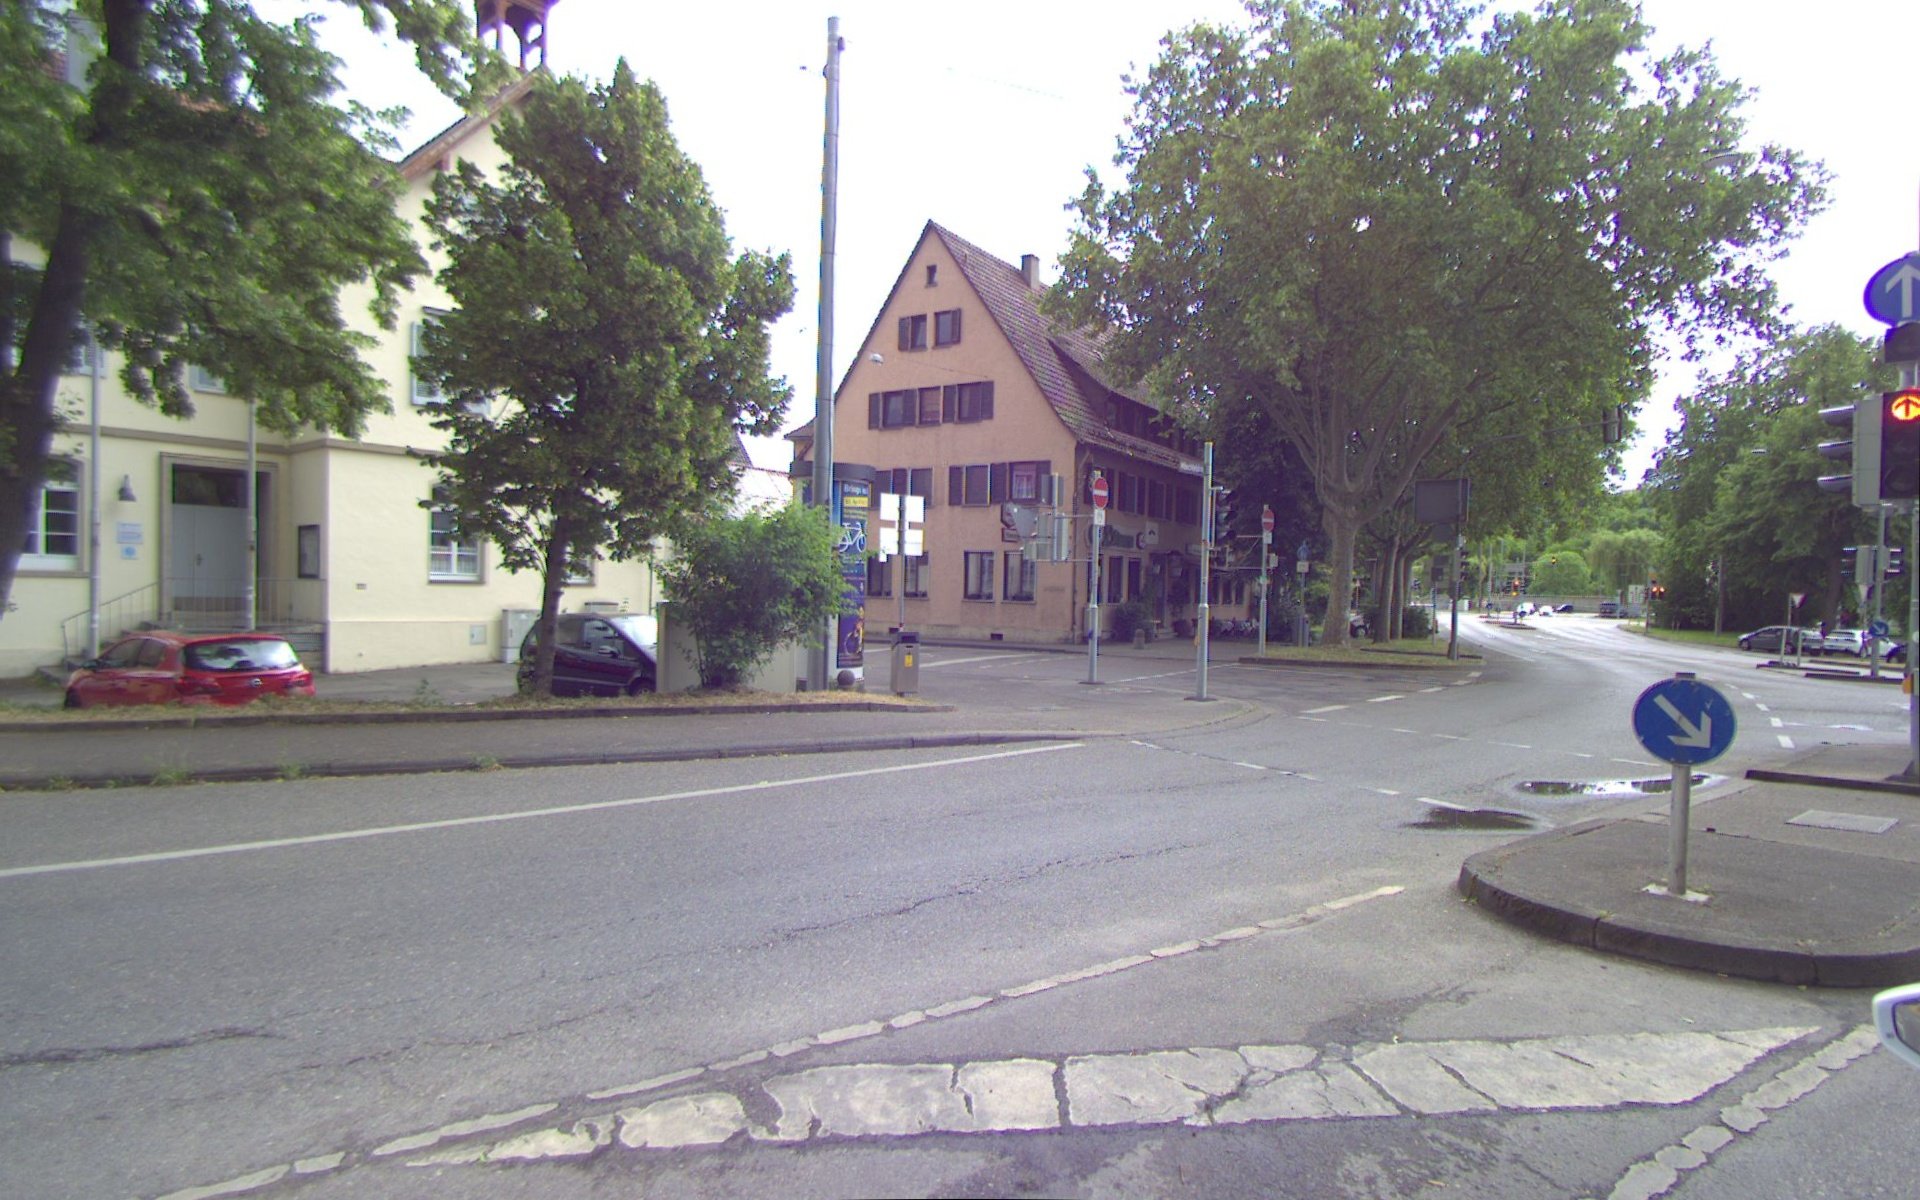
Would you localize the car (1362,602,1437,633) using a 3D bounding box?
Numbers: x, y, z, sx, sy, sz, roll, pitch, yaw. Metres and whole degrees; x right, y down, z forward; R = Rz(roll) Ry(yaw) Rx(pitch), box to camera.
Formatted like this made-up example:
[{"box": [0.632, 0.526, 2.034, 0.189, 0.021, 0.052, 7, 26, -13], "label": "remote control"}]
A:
[{"box": [25.731, 1.011, 58.782, 3.924, 1.706, 1.998, 1, 0, 25], "label": "car"}]

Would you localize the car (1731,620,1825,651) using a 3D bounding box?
[{"box": [43.820, 1.880, 53.904, 1.592, 1.485, 3.778, 2, 0, -11], "label": "car"}]

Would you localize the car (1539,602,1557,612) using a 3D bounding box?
[{"box": [90.960, 1.117, 155.462, 1.469, 1.436, 3.028, 3, 0, 11], "label": "car"}]

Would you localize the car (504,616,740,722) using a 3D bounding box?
[{"box": [-5.532, 1.054, 16.442, 3.507, 1.459, 1.644, 2, 0, 26], "label": "car"}]

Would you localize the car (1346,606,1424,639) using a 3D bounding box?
[{"box": [23.999, 1.254, 56.705, 3.924, 1.706, 1.998, 1, 0, 25], "label": "car"}]

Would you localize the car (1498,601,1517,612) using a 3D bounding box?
[{"box": [85.300, 1.006, 156.501, 1.553, 1.506, 3.337, 3, 0, 12], "label": "car"}]

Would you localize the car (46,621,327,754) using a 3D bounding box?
[{"box": [-10.277, 1.050, 13.304, 3.653, 1.401, 1.659, 2, 0, 30], "label": "car"}]

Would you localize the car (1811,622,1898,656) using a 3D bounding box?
[{"box": [47.464, 2.042, 53.323, 3.696, 1.662, 1.859, 2, 0, -19], "label": "car"}]

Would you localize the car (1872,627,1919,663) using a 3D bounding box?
[{"box": [39.448, 1.862, 40.762, 1.746, 1.370, 3.326, 2, 0, -2], "label": "car"}]
